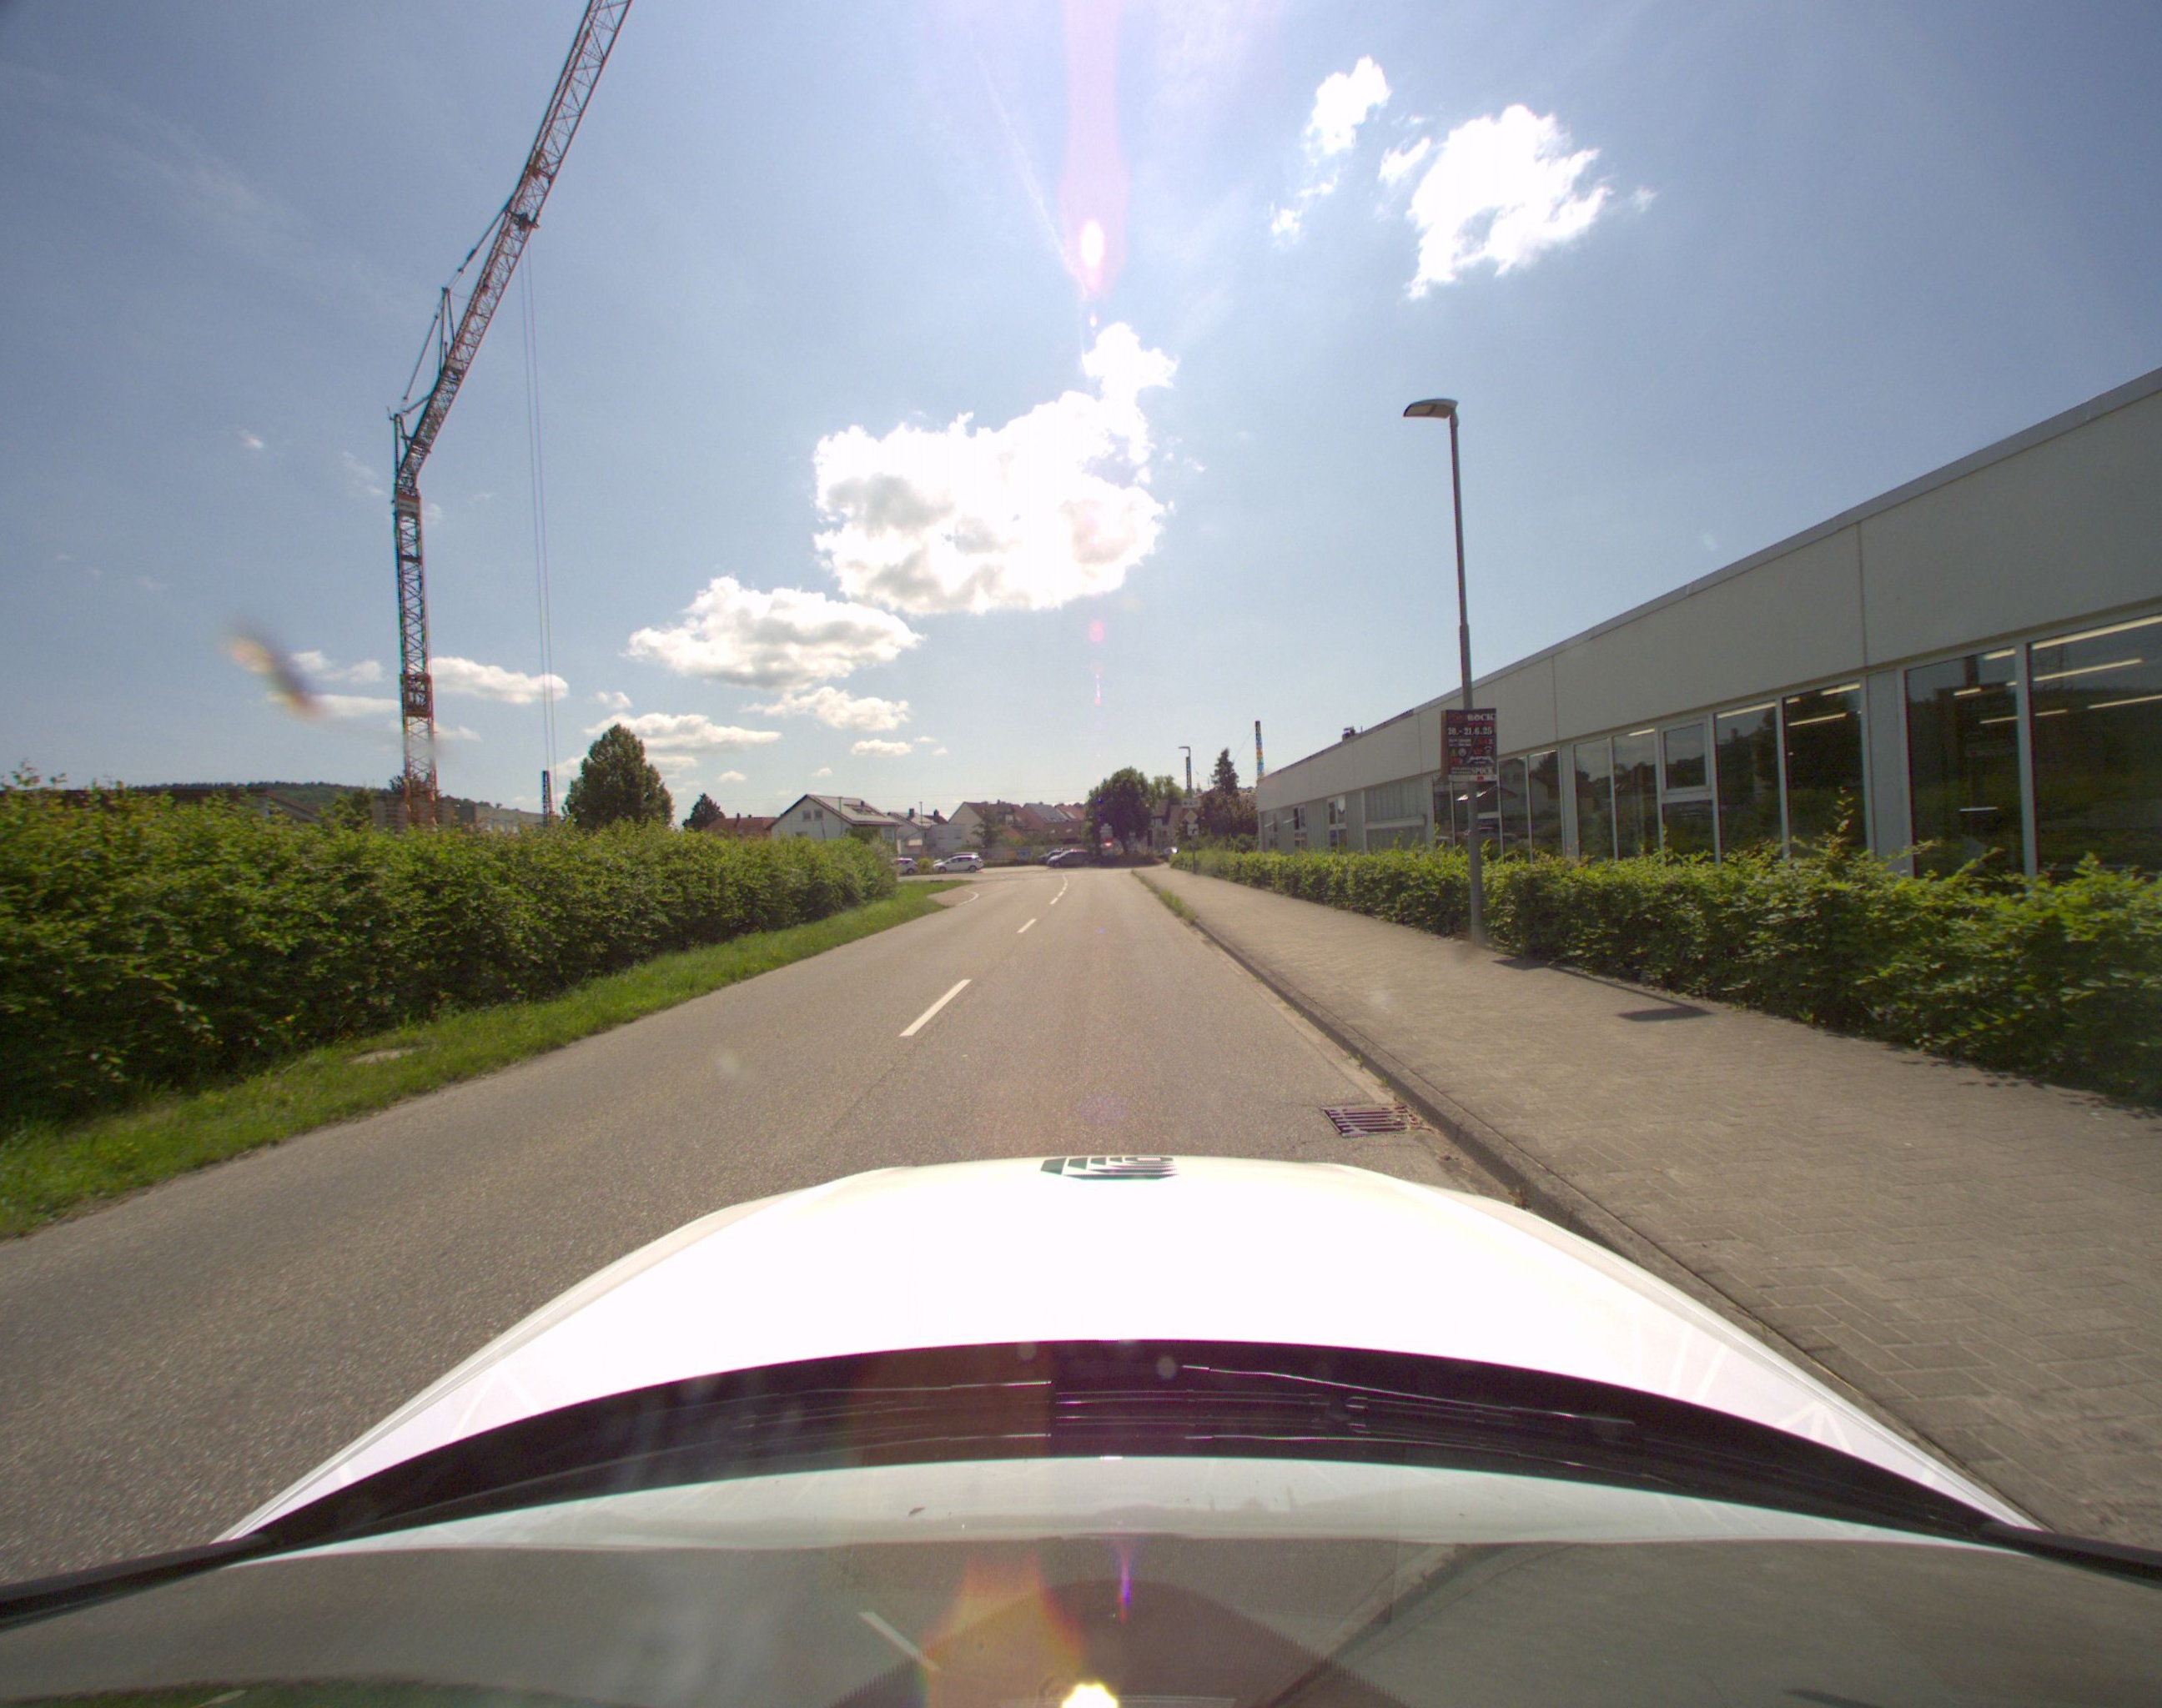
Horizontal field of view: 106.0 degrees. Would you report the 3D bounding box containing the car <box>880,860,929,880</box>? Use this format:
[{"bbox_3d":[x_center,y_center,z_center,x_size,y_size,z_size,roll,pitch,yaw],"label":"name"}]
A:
[{"bbox_3d":[-15.435,1.399,71.256,4.010,1.562,1.812,-3,0,-17],"label":"car"}]

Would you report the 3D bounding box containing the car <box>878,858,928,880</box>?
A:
[{"bbox_3d":[-16.062,1.341,73.510,4.169,1.638,1.945,-4,0,-16],"label":"car"}]

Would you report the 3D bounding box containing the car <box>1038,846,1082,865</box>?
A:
[{"bbox_3d":[-2.088,0.122,78.778,3.985,1.657,1.994,-3,0,-9],"label":"car"}]

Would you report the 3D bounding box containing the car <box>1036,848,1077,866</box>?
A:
[{"bbox_3d":[-2.450,0.288,81.447,3.985,1.730,1.765,-1,-1,-9],"label":"car"}]

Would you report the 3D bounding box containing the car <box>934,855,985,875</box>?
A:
[{"bbox_3d":[-10.785,0.999,72.086,4.285,1.476,1.820,-4,0,-11],"label":"car"}]

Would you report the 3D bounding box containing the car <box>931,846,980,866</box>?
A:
[{"bbox_3d":[-11.753,0.163,76.760,4.448,1.690,1.995,-2,1,-8],"label":"car"}]

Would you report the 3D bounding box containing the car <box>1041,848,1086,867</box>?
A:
[{"bbox_3d":[-1.627,0.322,76.443,3.985,1.586,1.775,-3,0,-8],"label":"car"}]

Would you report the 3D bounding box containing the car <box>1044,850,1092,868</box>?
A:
[{"bbox_3d":[-1.188,0.453,73.964,4.184,1.463,1.660,-2,0,-8],"label":"car"}]
